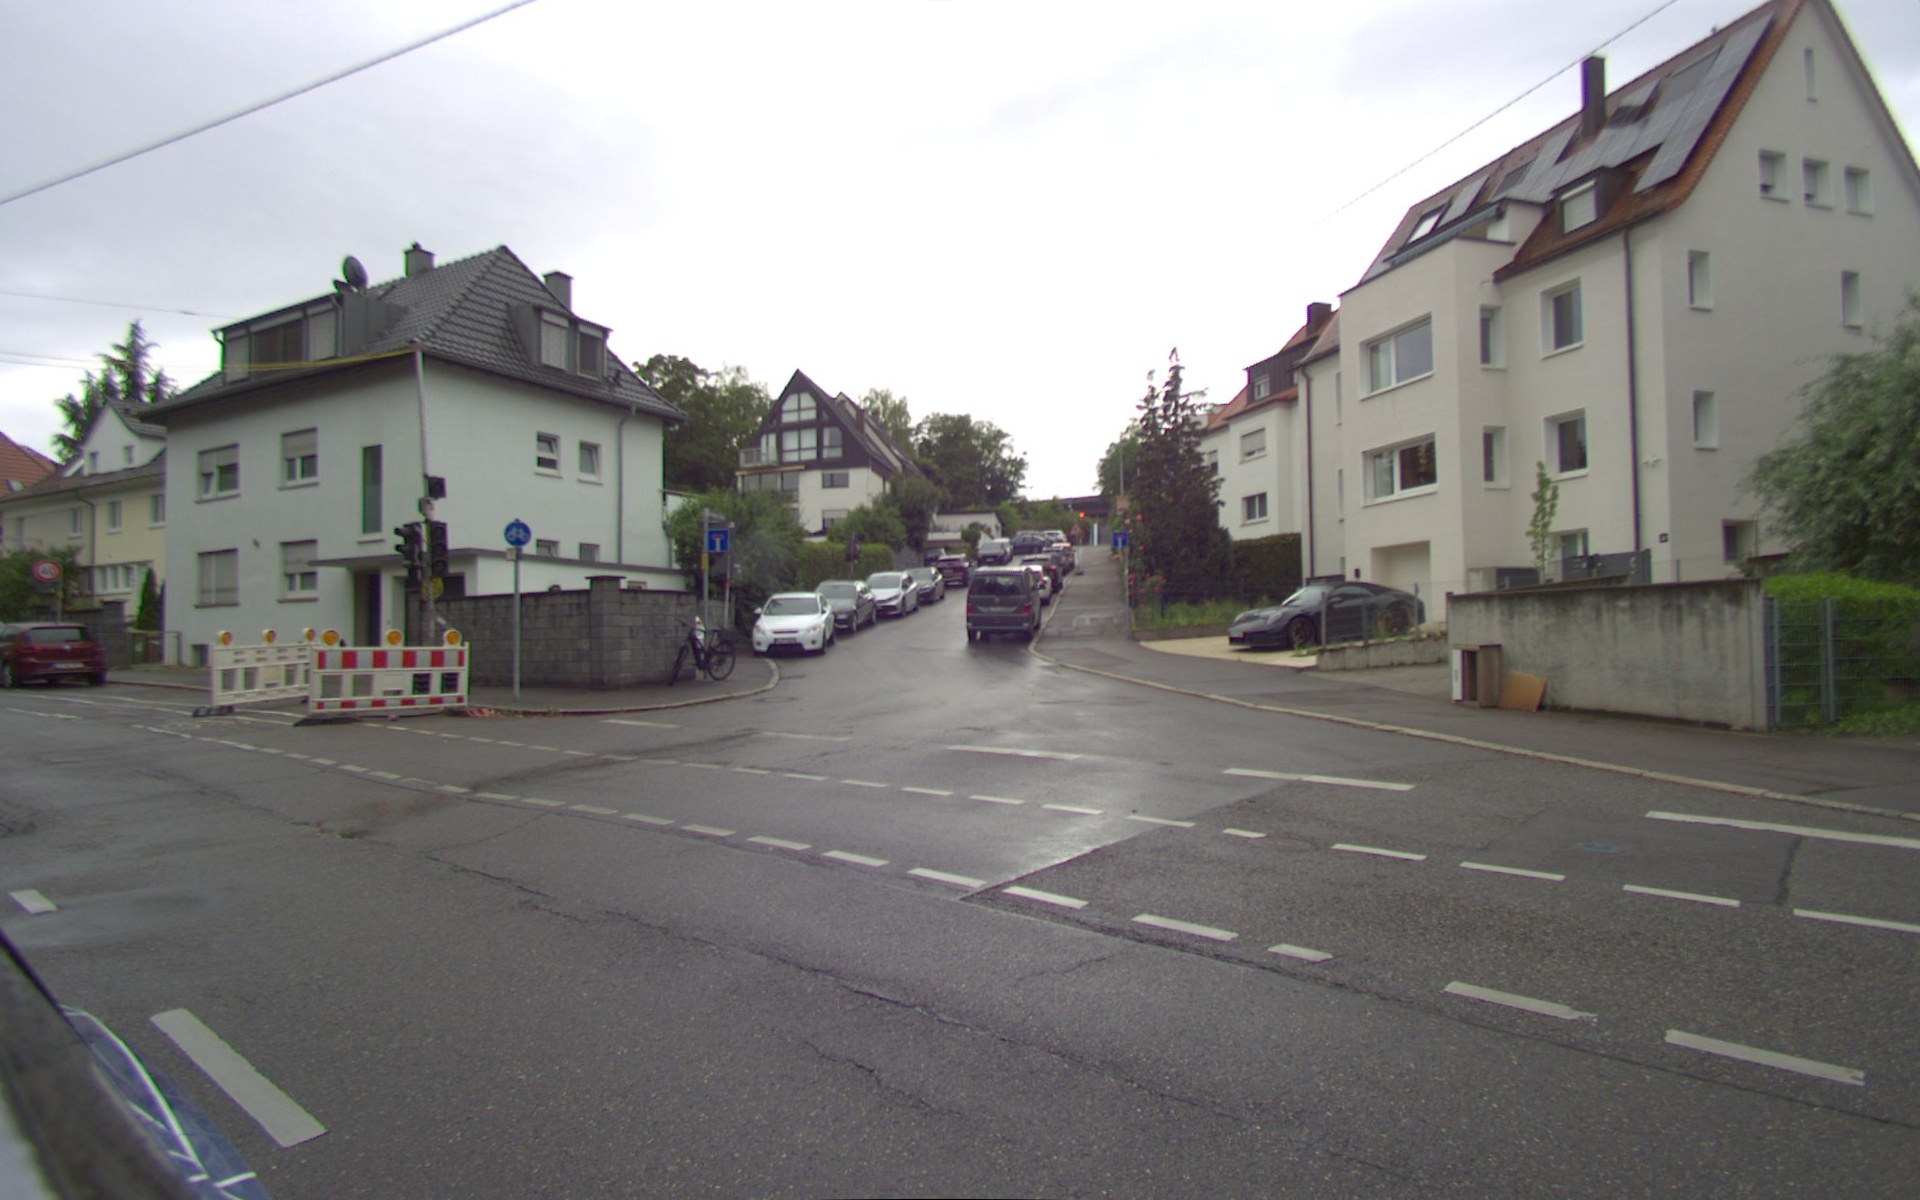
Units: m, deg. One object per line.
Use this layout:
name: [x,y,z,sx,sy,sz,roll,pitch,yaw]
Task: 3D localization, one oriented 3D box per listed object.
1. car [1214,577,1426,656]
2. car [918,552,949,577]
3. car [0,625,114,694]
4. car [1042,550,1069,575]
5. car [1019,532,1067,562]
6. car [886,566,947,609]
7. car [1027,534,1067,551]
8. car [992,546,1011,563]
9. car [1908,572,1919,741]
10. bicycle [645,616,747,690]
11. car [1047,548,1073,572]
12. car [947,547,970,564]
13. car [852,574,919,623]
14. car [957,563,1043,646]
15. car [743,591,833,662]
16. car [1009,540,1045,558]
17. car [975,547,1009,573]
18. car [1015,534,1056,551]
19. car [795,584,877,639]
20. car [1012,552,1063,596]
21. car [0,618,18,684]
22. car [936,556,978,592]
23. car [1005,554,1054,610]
car: [7.710,0.327,21.772,3.942,1.290,1.613,-5,1,-13]
car: [-1.825,-2.432,69.793,1.793,1.566,4.009,-1,0,3]
car: [-21.465,1.334,23.382,3.833,1.443,1.768,-1,-1,30]
car: [5.505,-2.157,58.111,1.274,1.325,2.984,-1,3,10]
car: [7.203,-4.582,87.642,3.954,2.028,1.995,-5,-1,8]
car: [-1.804,-0.562,42.960,1.903,1.448,4.100,-1,5,7]
car: [8.939,-5.923,103.914,3.782,1.529,1.664,-1,0,15]
car: [3.059,-3.342,74.711,1.292,1.206,2.980,-1,3,5]
car: [10.608,0.417,8.549,3.934,1.497,1.780,-2,-1,-12]
bicycle: [-4.782,0.929,18.457,0.508,1.249,1.984,1,0,32]
car: [6.239,-2.462,62.848,1.488,1.373,3.465,-1,0,8]
car: [-0.081,-3.274,74.021,1.559,1.220,3.650,-1,3,2]
car: [-2.655,-0.092,37.087,1.738,1.481,3.940,-1,4,6]
car: [1.245,0.043,29.325,1.978,2.028,4.482,-1,4,9]
car: [-4.350,0.620,26.156,1.827,1.473,4.124,-1,3,-3]
car: [5.554,-4.217,83.654,2.914,1.328,1.282,-1,0,4]
car: [2.197,-2.685,68.886,1.770,1.531,4.016,-1,0,9]
car: [7.391,-5.611,98.788,3.922,1.528,1.748,-1,0,6]
car: [-3.824,0.313,31.818,1.702,1.397,3.900,-1,4,6]
car: [3.524,-1.203,45.376,1.823,1.699,4.039,-1,5,11]
car: [-26.150,1.318,25.774,4.131,1.653,1.782,-1,-1,25]
car: [-0.112,-1.374,52.465,1.623,1.637,3.992,-1,5,8]
car: [2.822,-0.763,40.324,1.686,1.843,4.194,-1,6,7]
